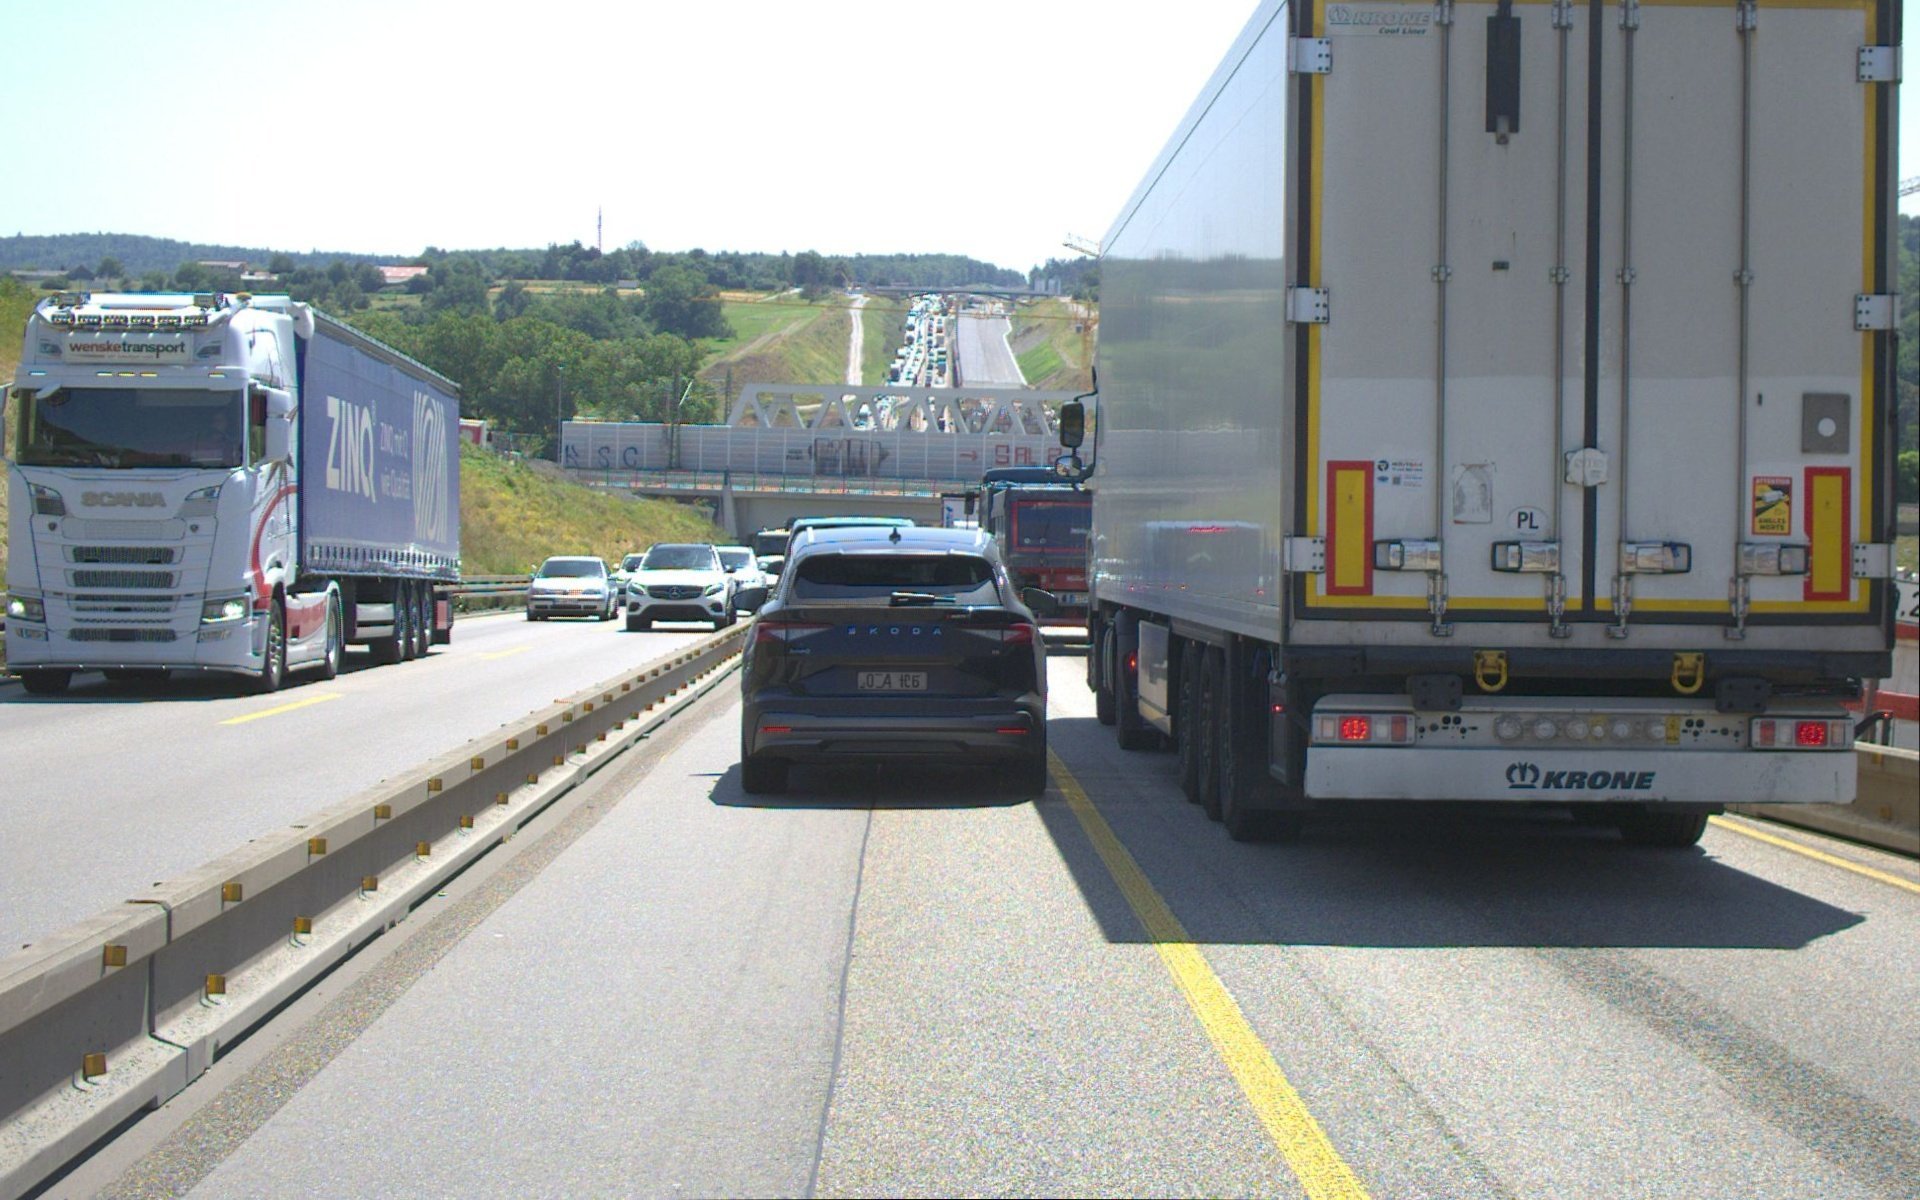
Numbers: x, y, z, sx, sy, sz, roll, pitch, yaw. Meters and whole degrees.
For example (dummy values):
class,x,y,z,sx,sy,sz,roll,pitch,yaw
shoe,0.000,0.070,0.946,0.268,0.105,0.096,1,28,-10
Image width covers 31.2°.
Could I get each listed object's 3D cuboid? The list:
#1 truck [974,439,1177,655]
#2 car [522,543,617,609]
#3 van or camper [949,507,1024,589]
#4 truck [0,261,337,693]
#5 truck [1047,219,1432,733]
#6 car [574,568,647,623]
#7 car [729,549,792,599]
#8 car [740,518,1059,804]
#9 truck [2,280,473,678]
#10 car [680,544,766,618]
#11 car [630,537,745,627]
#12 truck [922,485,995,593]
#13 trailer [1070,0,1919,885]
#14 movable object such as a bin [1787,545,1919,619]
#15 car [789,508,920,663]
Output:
class,x,y,z,sx,sy,sz,roll,pitch,yaw
truck,1.716,-0.838,56.496,2.814,3.124,12.838,0,1,0
car,-8.419,-0.533,74.443,1.701,1.374,3.967,1,1,-2
van or camper,0.736,-1.489,98.038,1.993,2.237,4.000,2,1,0
truck,-8.372,-1.220,35.285,3.239,4.145,4.248,0,1,-1
truck,2.279,-0.998,29.668,2.776,4.044,4.905,0,0,-1
car,-10.661,-0.155,105.158,1.899,1.579,4.515,1,1,-2
car,-6.116,-0.817,105.831,1.806,1.472,4.280,1,1,-2
car,-0.370,0.310,21.222,1.800,1.615,3.298,1,1,-1
truck,-8.560,-1.374,43.028,3.243,4.145,13.979,0,1,-1
car,-5.730,-0.484,83.458,1.891,1.702,4.562,1,1,-2
car,-5.093,-0.354,64.738,1.812,1.632,4.362,0,1,0
truck,-0.094,-2.375,132.951,2.517,3.946,7.600,2,1,-1
trailer,2.497,-0.904,21.287,2.801,4.044,14.118,0,0,-1
movable object such as a bin,36.754,-0.781,141.876,2.887,2.899,9.479,1,1,0
car,-1.258,-0.217,42.109,1.475,1.789,3.298,0,2,0
